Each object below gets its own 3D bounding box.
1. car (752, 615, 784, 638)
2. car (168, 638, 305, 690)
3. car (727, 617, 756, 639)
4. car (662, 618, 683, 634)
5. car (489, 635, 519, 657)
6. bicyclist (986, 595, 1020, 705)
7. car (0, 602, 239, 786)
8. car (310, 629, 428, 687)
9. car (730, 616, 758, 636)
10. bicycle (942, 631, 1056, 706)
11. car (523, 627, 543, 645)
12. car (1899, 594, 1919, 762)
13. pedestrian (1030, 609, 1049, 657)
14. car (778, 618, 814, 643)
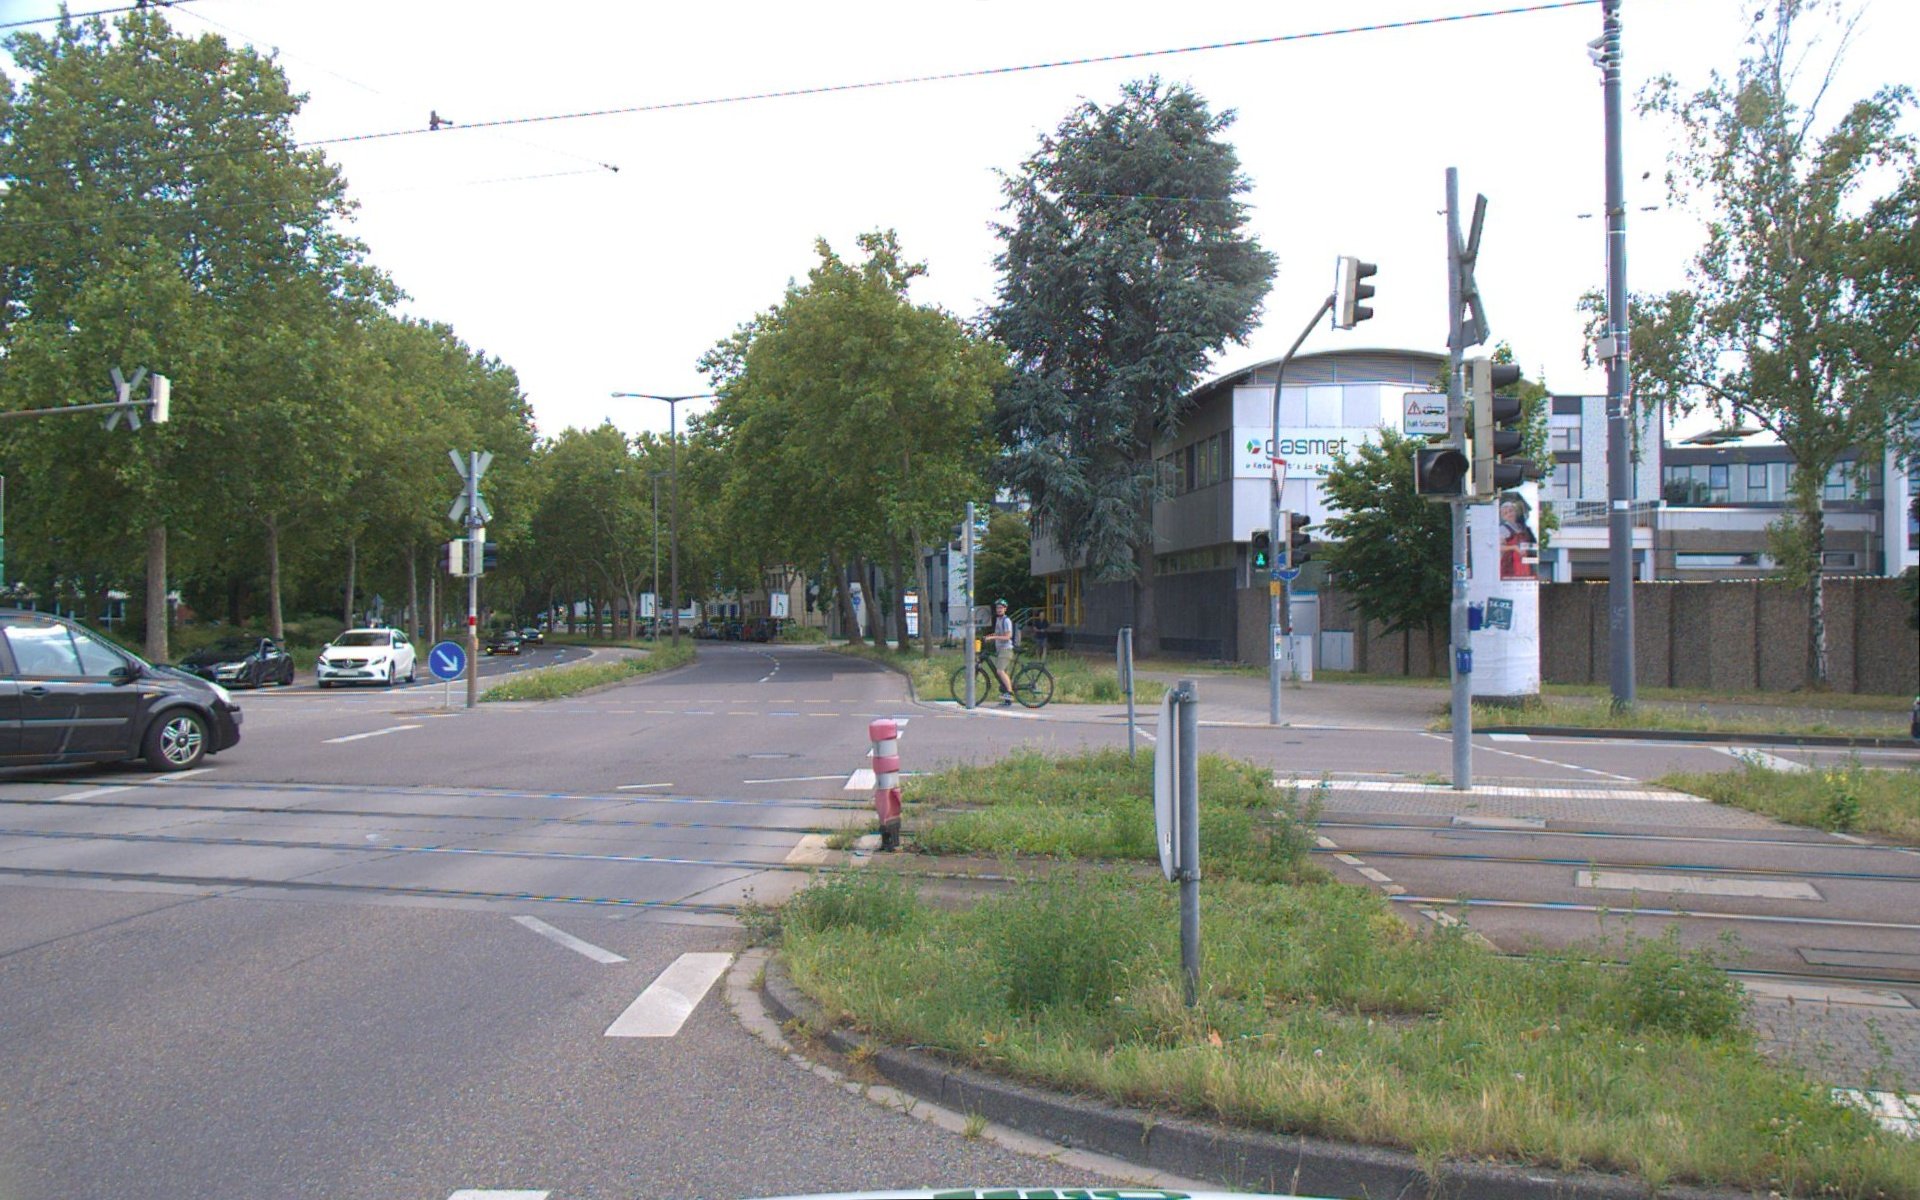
[{"bbox_3d":[-14.993,2.082,128.779,1.960,1.601,3.986,-1,1,-14],"label":"car"},{"bbox_3d":[-18.114,1.584,41.582,1.600,1.212,3.710,0,-1,4],"label":"car"},{"bbox_3d":[-18.069,2.321,136.617,1.960,1.601,3.986,-1,1,-14],"label":"car"},{"bbox_3d":[-30.359,2.731,174.623,1.960,1.601,3.986,-1,1,-14],"label":"car"},{"bbox_3d":[-26.036,2.604,94.387,1.608,1.212,3.692,0,-1,-16],"label":"car"},{"bbox_3d":[0.742,0.847,28.228,0.531,1.841,0.541,0,1,6],"label":"bicyclist"},{"bbox_3d":[-9.174,0.857,15.606,1.704,1.659,4.029,-1,-1,41],"label":"car"},{"bbox_3d":[-15.093,1.443,42.445,1.789,1.388,4.134,0,-1,-4],"label":"car"},{"bbox_3d":[-19.253,2.302,147.321,1.960,1.601,3.986,-1,1,-14],"label":"car"},{"bbox_3d":[0.676,1.162,28.239,1.904,1.257,0.541,0,1,6],"label":"bicycle"},{"bbox_3d":[-35.584,3.019,137.798,1.629,1.293,3.756,-1,1,-15],"label":"car"},{"bbox_3d":[12.520,0.808,17.193,4.631,1.752,1.998,0,-1,26],"label":"car"},{"bbox_3d":[2.670,1.108,55.581,0.608,1.597,0.559,0,1,-3],"label":"pedestrian"},{"bbox_3d":[-11.662,2.143,117.337,1.960,1.601,3.986,-1,1,-14],"label":"car"}]
